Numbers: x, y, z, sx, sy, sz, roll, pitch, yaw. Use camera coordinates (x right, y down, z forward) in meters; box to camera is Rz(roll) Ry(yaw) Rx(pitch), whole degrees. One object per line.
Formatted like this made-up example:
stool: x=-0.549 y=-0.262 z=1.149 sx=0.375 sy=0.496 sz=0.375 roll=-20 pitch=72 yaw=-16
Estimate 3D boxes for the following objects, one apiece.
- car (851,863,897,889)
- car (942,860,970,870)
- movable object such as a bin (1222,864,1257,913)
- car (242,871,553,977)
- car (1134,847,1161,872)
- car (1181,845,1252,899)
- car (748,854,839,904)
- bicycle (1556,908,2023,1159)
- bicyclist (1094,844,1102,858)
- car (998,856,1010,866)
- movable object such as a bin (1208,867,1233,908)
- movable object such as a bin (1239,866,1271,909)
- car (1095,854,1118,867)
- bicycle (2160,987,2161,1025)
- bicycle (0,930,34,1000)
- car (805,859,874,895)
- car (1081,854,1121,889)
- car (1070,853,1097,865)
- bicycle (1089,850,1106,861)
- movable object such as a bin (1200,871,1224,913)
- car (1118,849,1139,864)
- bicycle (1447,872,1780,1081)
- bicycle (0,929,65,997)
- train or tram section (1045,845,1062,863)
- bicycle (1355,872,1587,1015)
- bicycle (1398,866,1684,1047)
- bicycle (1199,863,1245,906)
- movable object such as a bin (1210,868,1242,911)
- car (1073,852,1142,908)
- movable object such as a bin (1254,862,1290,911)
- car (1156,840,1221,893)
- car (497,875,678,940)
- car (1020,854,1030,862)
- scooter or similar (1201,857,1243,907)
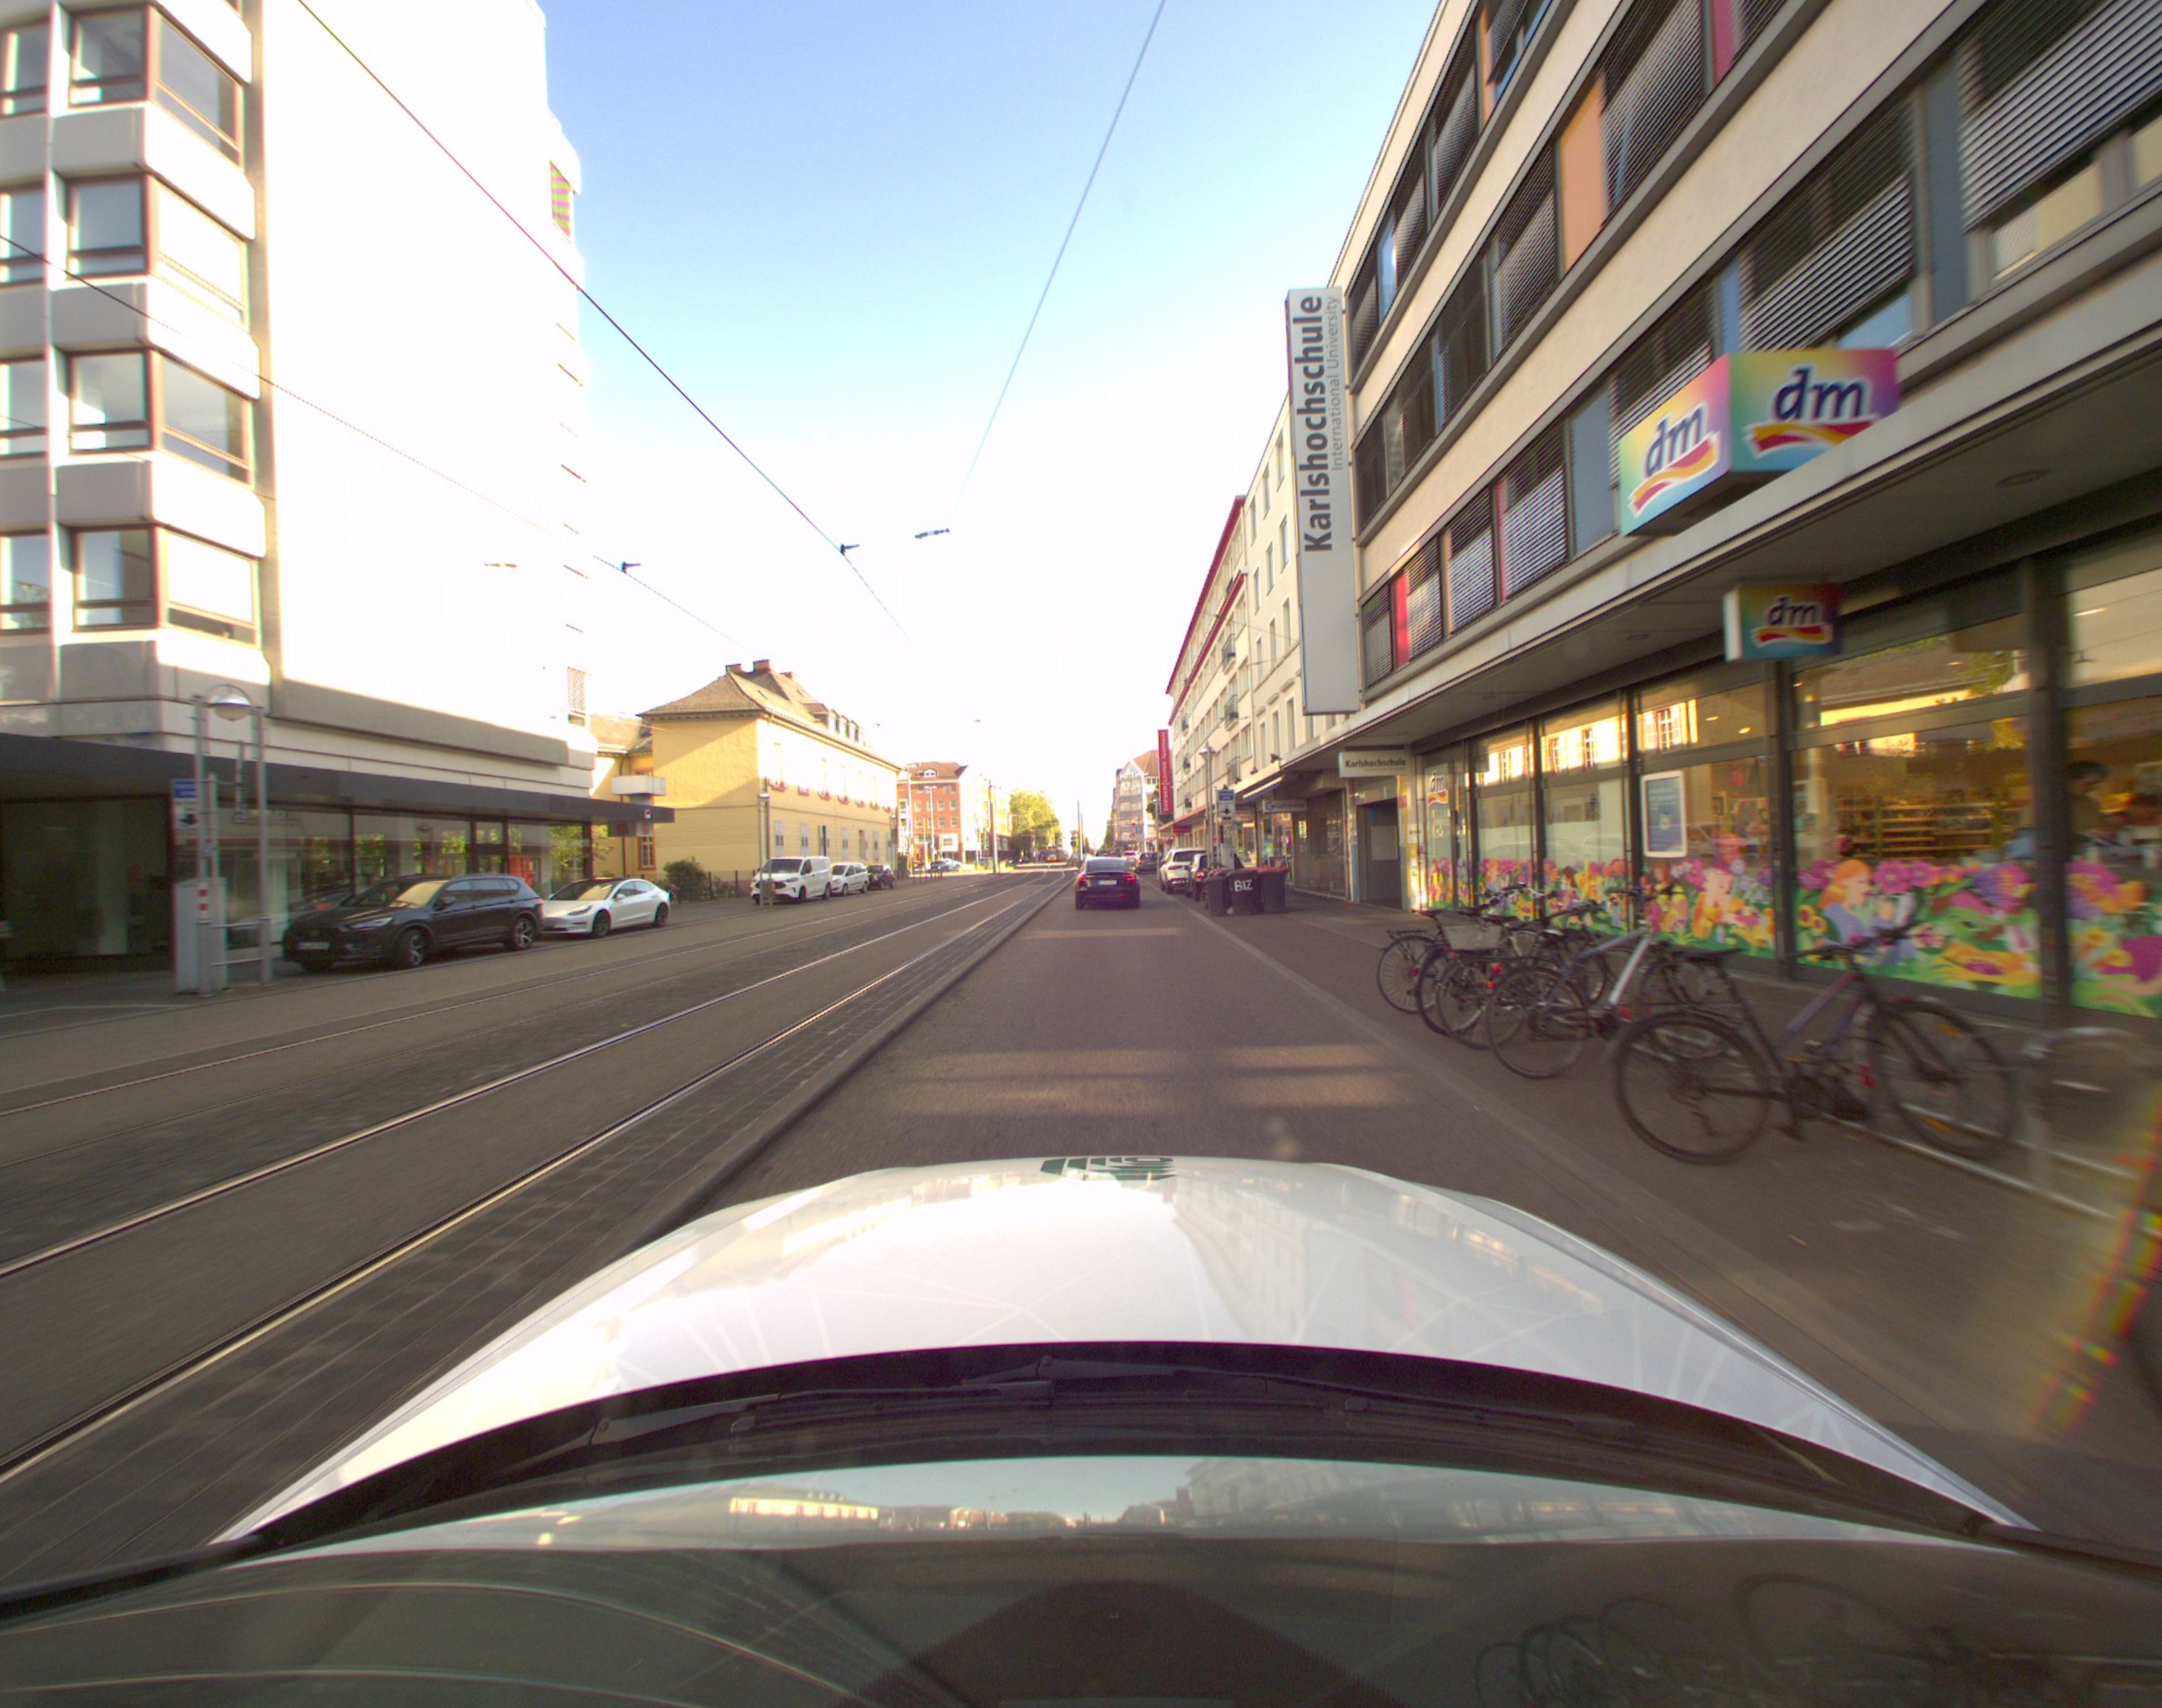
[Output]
car: x=-11.809 y=1.207 z=46.686 sx=1.608 sy=1.400 sz=3.721 roll=0 pitch=0 yaw=1
car: x=-18.853 y=1.670 z=123.045 sx=1.974 sy=1.420 sz=4.025 roll=0 pitch=0 yaw=36
movable object such as a bin: x=3.740 y=0.813 z=19.304 sx=0.687 sy=1.089 sz=0.686 roll=-3 pitch=-1 yaw=5
car: x=-12.791 y=1.202 z=15.773 sx=1.971 sy=1.678 sz=4.657 roll=0 pitch=0 yaw=2
car: x=4.792 y=0.392 z=59.208 sx=1.738 sy=1.632 sz=3.651 roll=-3 pitch=0 yaw=2
car: x=4.273 y=0.543 z=26.234 sx=1.608 sy=1.528 sz=4.071 roll=-3 pitch=0 yaw=1
car: x=-12.225 y=0.998 z=34.996 sx=1.986 sy=1.975 sz=5.097 roll=0 pitch=0 yaw=1
bicycle: x=3.443 y=0.850 z=4.059 sx=1.767 sy=1.032 sz=0.597 roll=-3 pitch=0 yaw=0
bicyclist: x=1.806 y=-0.272 z=87.996 sx=0.835 sy=1.500 sz=0.559 roll=0 pitch=-1 yaw=-6
car: x=-15.964 y=1.373 z=169.845 sx=1.986 sy=2.014 sz=4.001 roll=0 pitch=0 yaw=2
movable object such as a bin: x=3.564 y=0.851 z=20.849 sx=0.520 sy=1.014 sz=0.672 roll=-3 pitch=0 yaw=4
movable object such as a bin: x=4.280 y=0.814 z=20.049 sx=0.655 sy=1.014 sz=0.637 roll=-3 pitch=0 yaw=4
car: x=3.058 y=0.825 z=98.084 sx=1.825 sy=1.519 sz=4.202 roll=0 pitch=0 yaw=-11
bicycle: x=3.305 y=0.814 z=1.628 sx=1.770 sy=1.130 sz=0.478 roll=-3 pitch=0 yaw=-5
bicycle: x=-16.808 y=1.651 z=12.156 sx=1.929 sy=0.999 sz=0.381 roll=0 pitch=-1 yaw=2
car: x=-11.988 y=1.082 z=40.771 sx=1.799 sy=1.685 sz=4.653 roll=0 pitch=0 yaw=4
car: x=0.923 y=0.721 z=35.917 sx=1.647 sy=1.418 sz=4.003 roll=0 pitch=1 yaw=2
car: x=0.368 y=0.827 z=135.596 sx=4.018 sy=1.739 sz=1.978 roll=-2 pitch=0 yaw=-36
bicycle: x=1.763 y=0.158 z=88.002 sx=1.726 sy=1.088 sz=0.676 roll=0 pitch=-1 yaw=-7
movable object such as a bin: x=3.131 y=0.908 z=19.454 sx=0.485 sy=0.958 sz=0.458 roll=-3 pitch=-1 yaw=4
car: x=4.835 y=0.249 z=83.063 sx=1.778 sy=1.519 sz=4.215 roll=0 pitch=0 yaw=-1
bicycle: x=3.488 y=0.777 z=5.425 sx=1.781 sy=1.217 sz=0.587 roll=-3 pitch=0 yaw=0
bicycle: x=-16.903 y=1.674 z=12.584 sx=1.929 sy=0.999 sz=0.424 roll=0 pitch=-1 yaw=2
train or tram section: x=-5.928 y=0.036 z=179.020 sx=2.664 sy=3.715 sz=14.199 roll=0 pitch=0 yaw=2
bicycle: x=3.561 y=0.799 z=7.543 sx=1.781 sy=1.159 sz=0.669 roll=-3 pitch=0 yaw=0
bicycle: x=3.486 y=0.755 z=6.277 sx=1.781 sy=1.217 sz=0.669 roll=-3 pitch=0 yaw=0
bicycle: x=3.776 y=0.808 z=21.813 sx=1.127 sy=1.079 sz=0.320 roll=-4 pitch=-1 yaw=0
movable object such as a bin: x=3.567 y=0.865 z=20.106 sx=0.683 sy=1.014 sz=0.509 roll=-3 pitch=0 yaw=4
car: x=0.743 y=0.721 z=24.104 sx=1.843 sy=1.484 sz=3.787 roll=-1 pitch=0 yaw=0
movable object such as a bin: x=4.513 y=0.764 z=19.275 sx=0.687 sy=1.089 sz=0.666 roll=-3 pitch=-1 yaw=4
car: x=4.031 y=0.455 z=31.357 sx=1.843 sy=1.724 sz=5.193 roll=-4 pitch=0 yaw=1
car: x=-12.706 y=1.322 z=21.398 sx=1.882 sy=1.421 sz=4.656 roll=0 pitch=0 yaw=0
car: x=-11.830 y=0.876 z=172.803 sx=1.744 sy=1.651 sz=4.002 roll=0 pitch=0 yaw=2
scooter or similar: x=3.697 y=0.727 z=21.384 sx=0.989 sy=1.231 sz=0.320 roll=-4 pitch=-1 yaw=0
